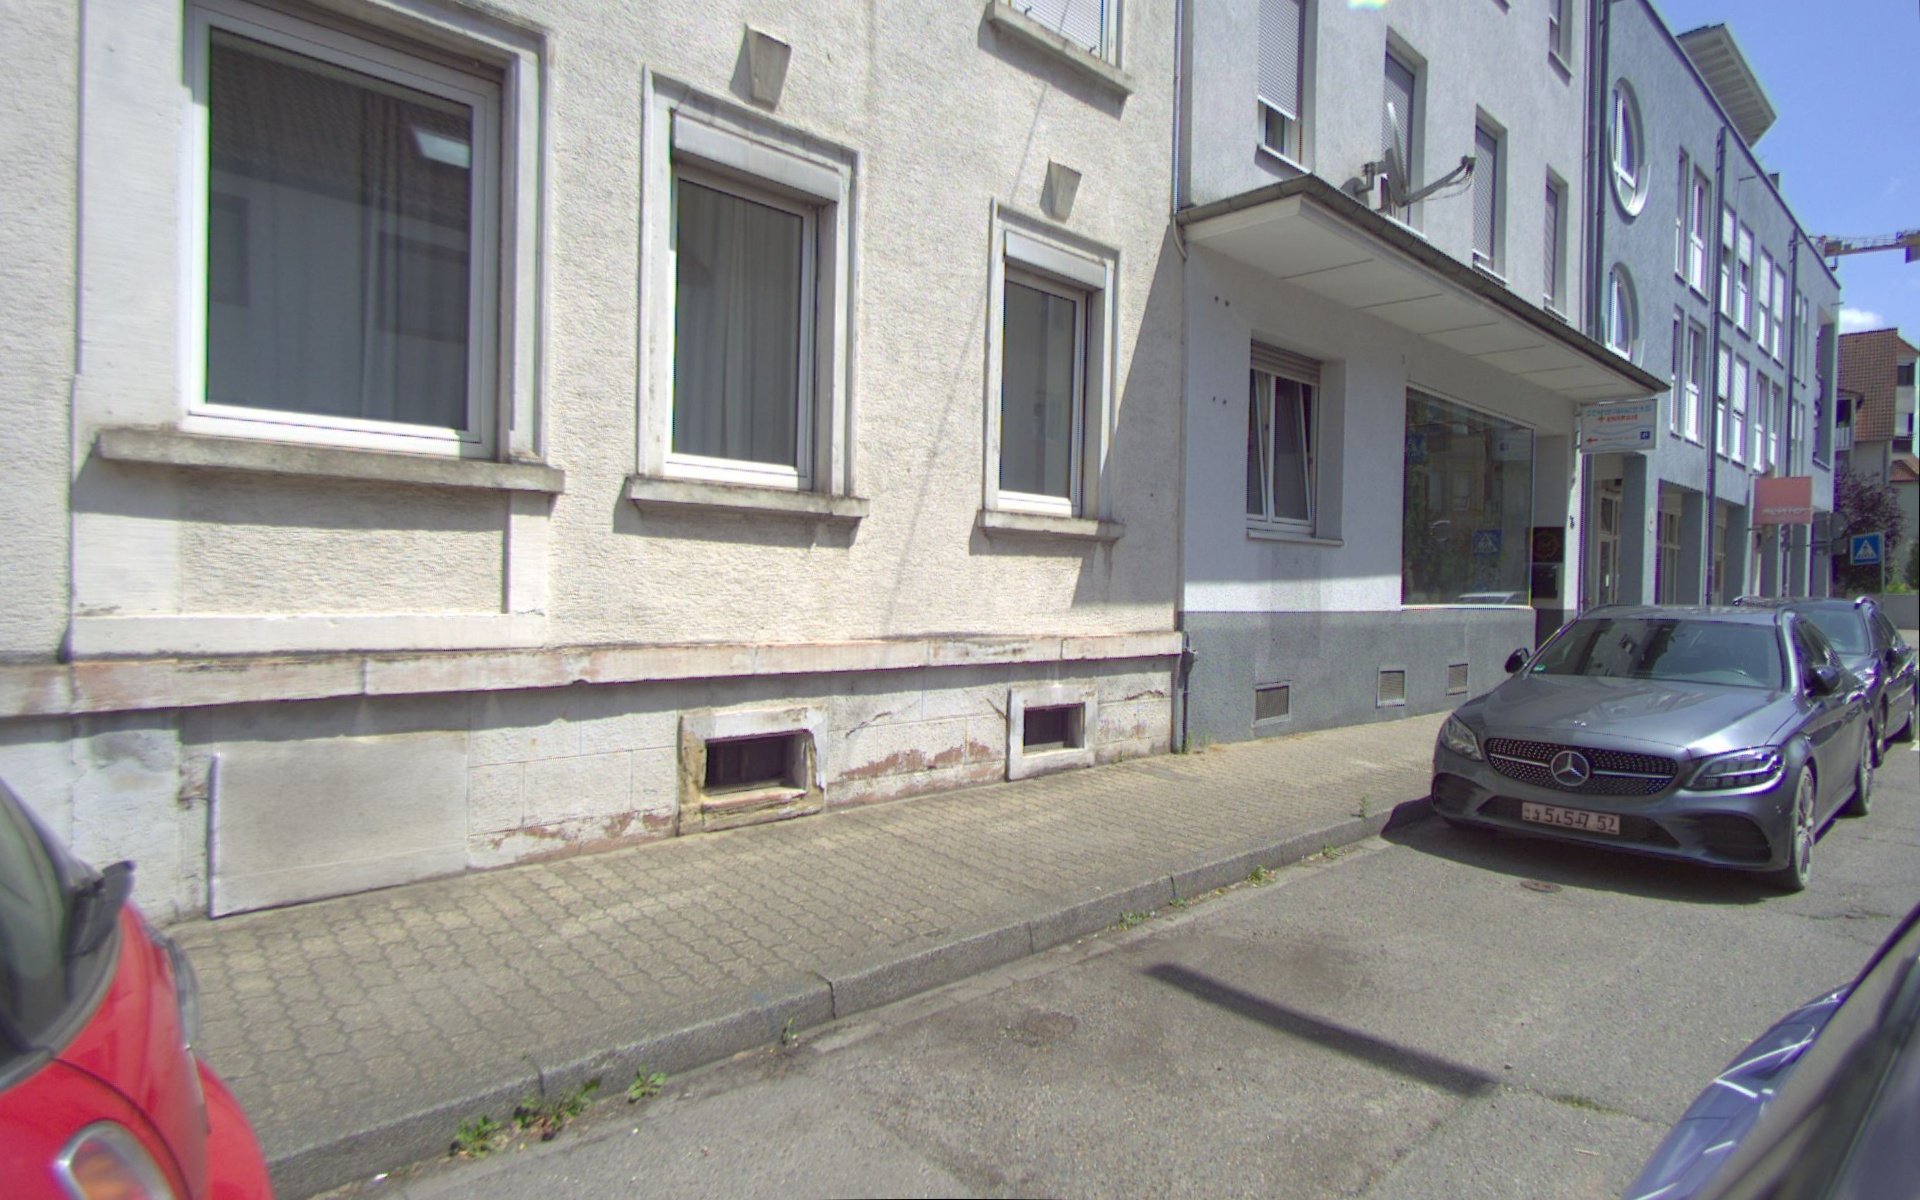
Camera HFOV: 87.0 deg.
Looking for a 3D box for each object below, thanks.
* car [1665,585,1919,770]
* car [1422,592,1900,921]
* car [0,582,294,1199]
[{"bbox_3d":[8.896,0.635,10.498,3.931,1.527,1.712,0,2,-42],"label":"car"},{"bbox_3d":[4.874,0.688,6.733,4.469,1.437,1.731,0,2,-44],"label":"car"},{"bbox_3d":[-2.478,0.692,0.407,3.479,1.403,1.620,0,1,-43],"label":"car"}]
